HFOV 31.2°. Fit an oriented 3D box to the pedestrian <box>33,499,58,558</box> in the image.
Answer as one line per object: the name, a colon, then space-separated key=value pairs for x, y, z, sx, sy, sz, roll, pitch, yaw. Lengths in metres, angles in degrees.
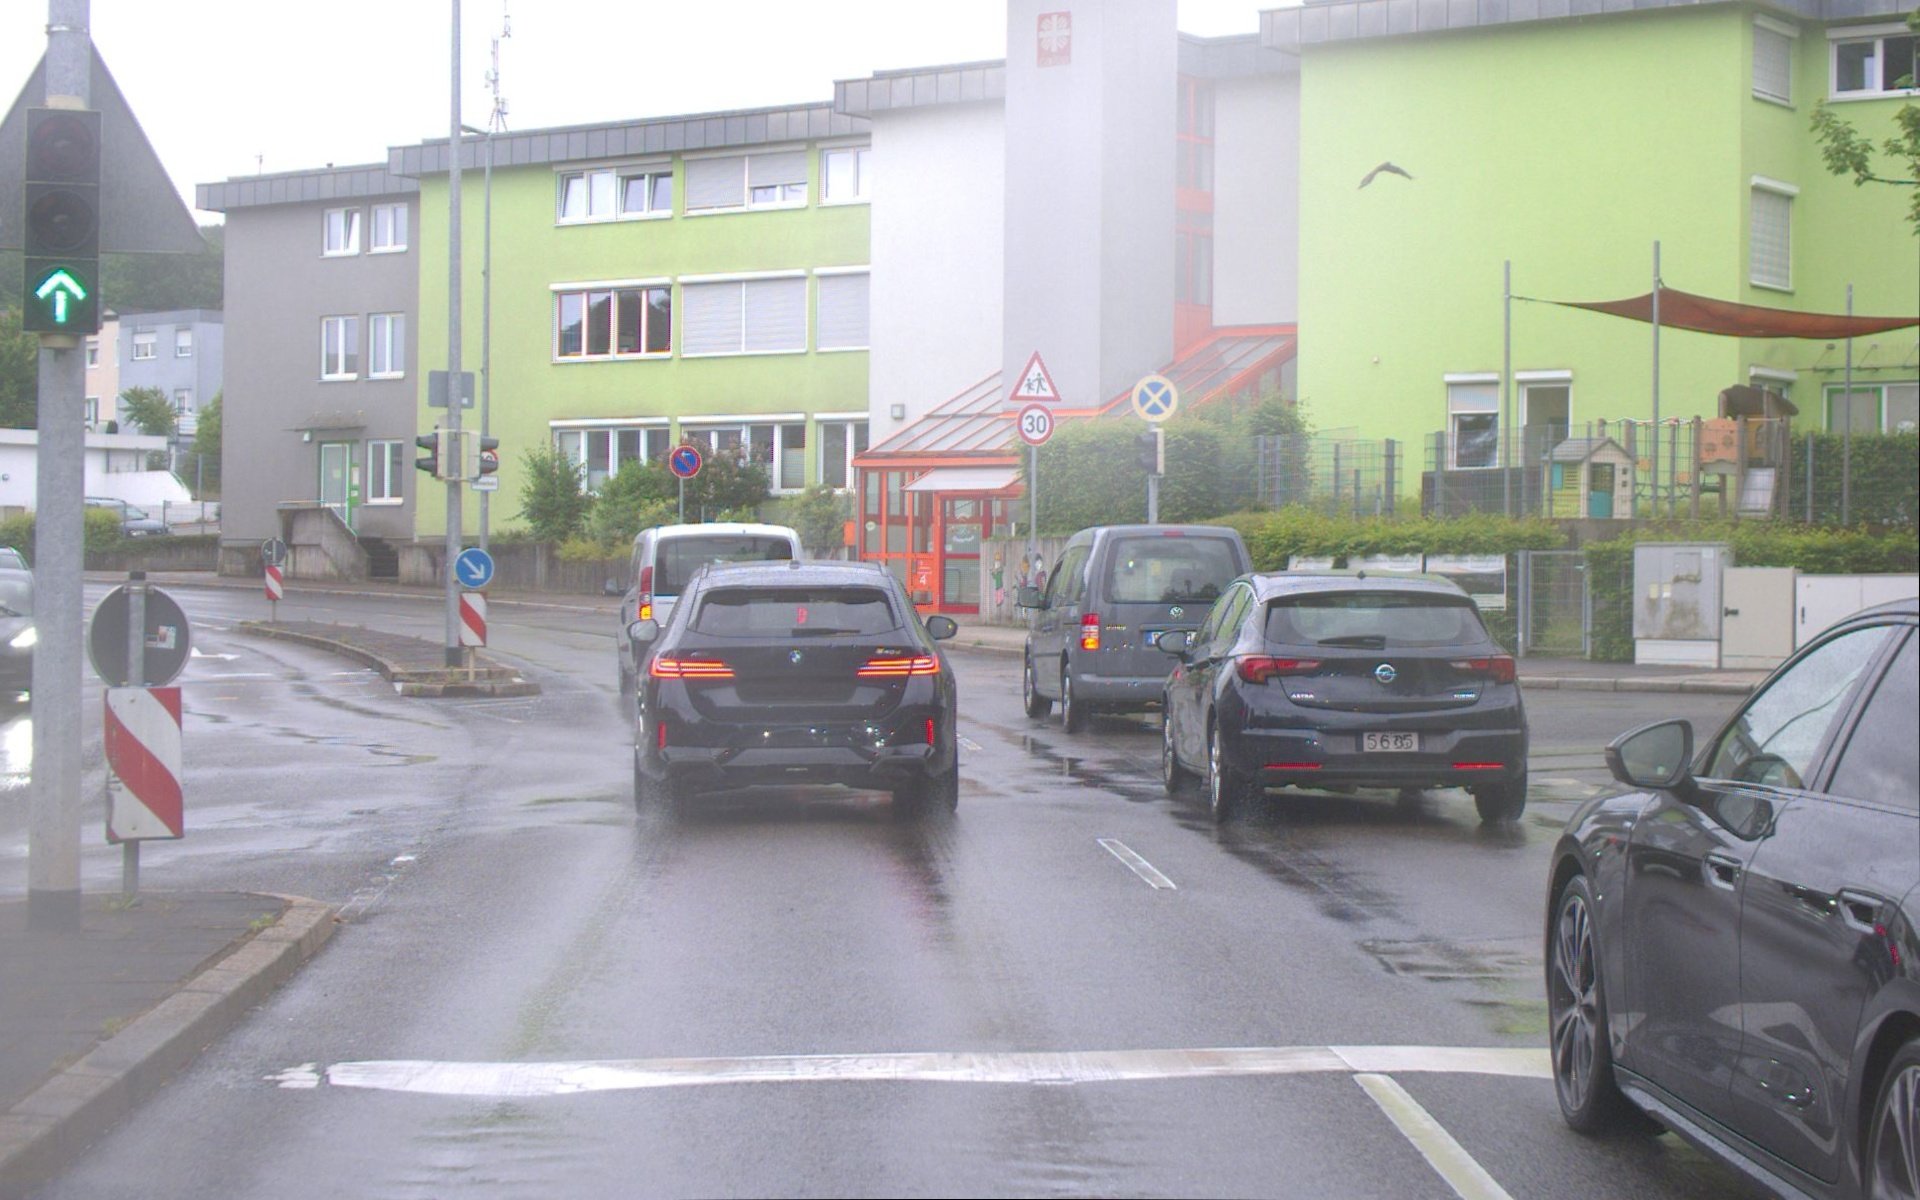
pedestrian: x=-25.081 y=-1.961 z=94.304 sx=0.420 sy=1.615 sz=0.473 roll=-3 pitch=1 yaw=-43

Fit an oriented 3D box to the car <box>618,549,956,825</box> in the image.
car: x=-1.142 y=0.452 z=21.030 sx=1.682 sy=1.501 sz=3.775 roll=0 pitch=1 yaw=-9

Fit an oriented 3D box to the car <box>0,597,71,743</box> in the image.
car: x=-10.891 y=0.754 z=37.996 sx=1.792 sy=1.484 sz=4.155 roll=-2 pitch=1 yaw=-11

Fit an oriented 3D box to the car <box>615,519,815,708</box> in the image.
car: x=-2.621 y=0.087 z=35.961 sx=1.716 sy=1.838 sz=4.088 roll=0 pitch=1 yaw=-9

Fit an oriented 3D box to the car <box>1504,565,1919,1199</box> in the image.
car: x=2.406 y=0.666 z=7.103 sx=1.706 sy=1.422 sz=4.509 roll=0 pitch=1 yaw=-2

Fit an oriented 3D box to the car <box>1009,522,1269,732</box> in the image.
car: x=1.553 y=0.201 z=31.265 sx=1.783 sy=1.728 sz=4.087 roll=-2 pitch=1 yaw=-5

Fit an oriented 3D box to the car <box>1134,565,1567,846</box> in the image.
car: x=2.259 y=0.556 z=20.965 sx=1.849 sy=1.481 sz=4.087 roll=-1 pitch=1 yaw=-5

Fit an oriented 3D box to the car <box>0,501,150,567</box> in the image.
car: x=-26.184 y=-1.936 z=101.143 sx=4.393 sy=1.766 sz=2.001 roll=-2 pitch=1 yaw=-17
